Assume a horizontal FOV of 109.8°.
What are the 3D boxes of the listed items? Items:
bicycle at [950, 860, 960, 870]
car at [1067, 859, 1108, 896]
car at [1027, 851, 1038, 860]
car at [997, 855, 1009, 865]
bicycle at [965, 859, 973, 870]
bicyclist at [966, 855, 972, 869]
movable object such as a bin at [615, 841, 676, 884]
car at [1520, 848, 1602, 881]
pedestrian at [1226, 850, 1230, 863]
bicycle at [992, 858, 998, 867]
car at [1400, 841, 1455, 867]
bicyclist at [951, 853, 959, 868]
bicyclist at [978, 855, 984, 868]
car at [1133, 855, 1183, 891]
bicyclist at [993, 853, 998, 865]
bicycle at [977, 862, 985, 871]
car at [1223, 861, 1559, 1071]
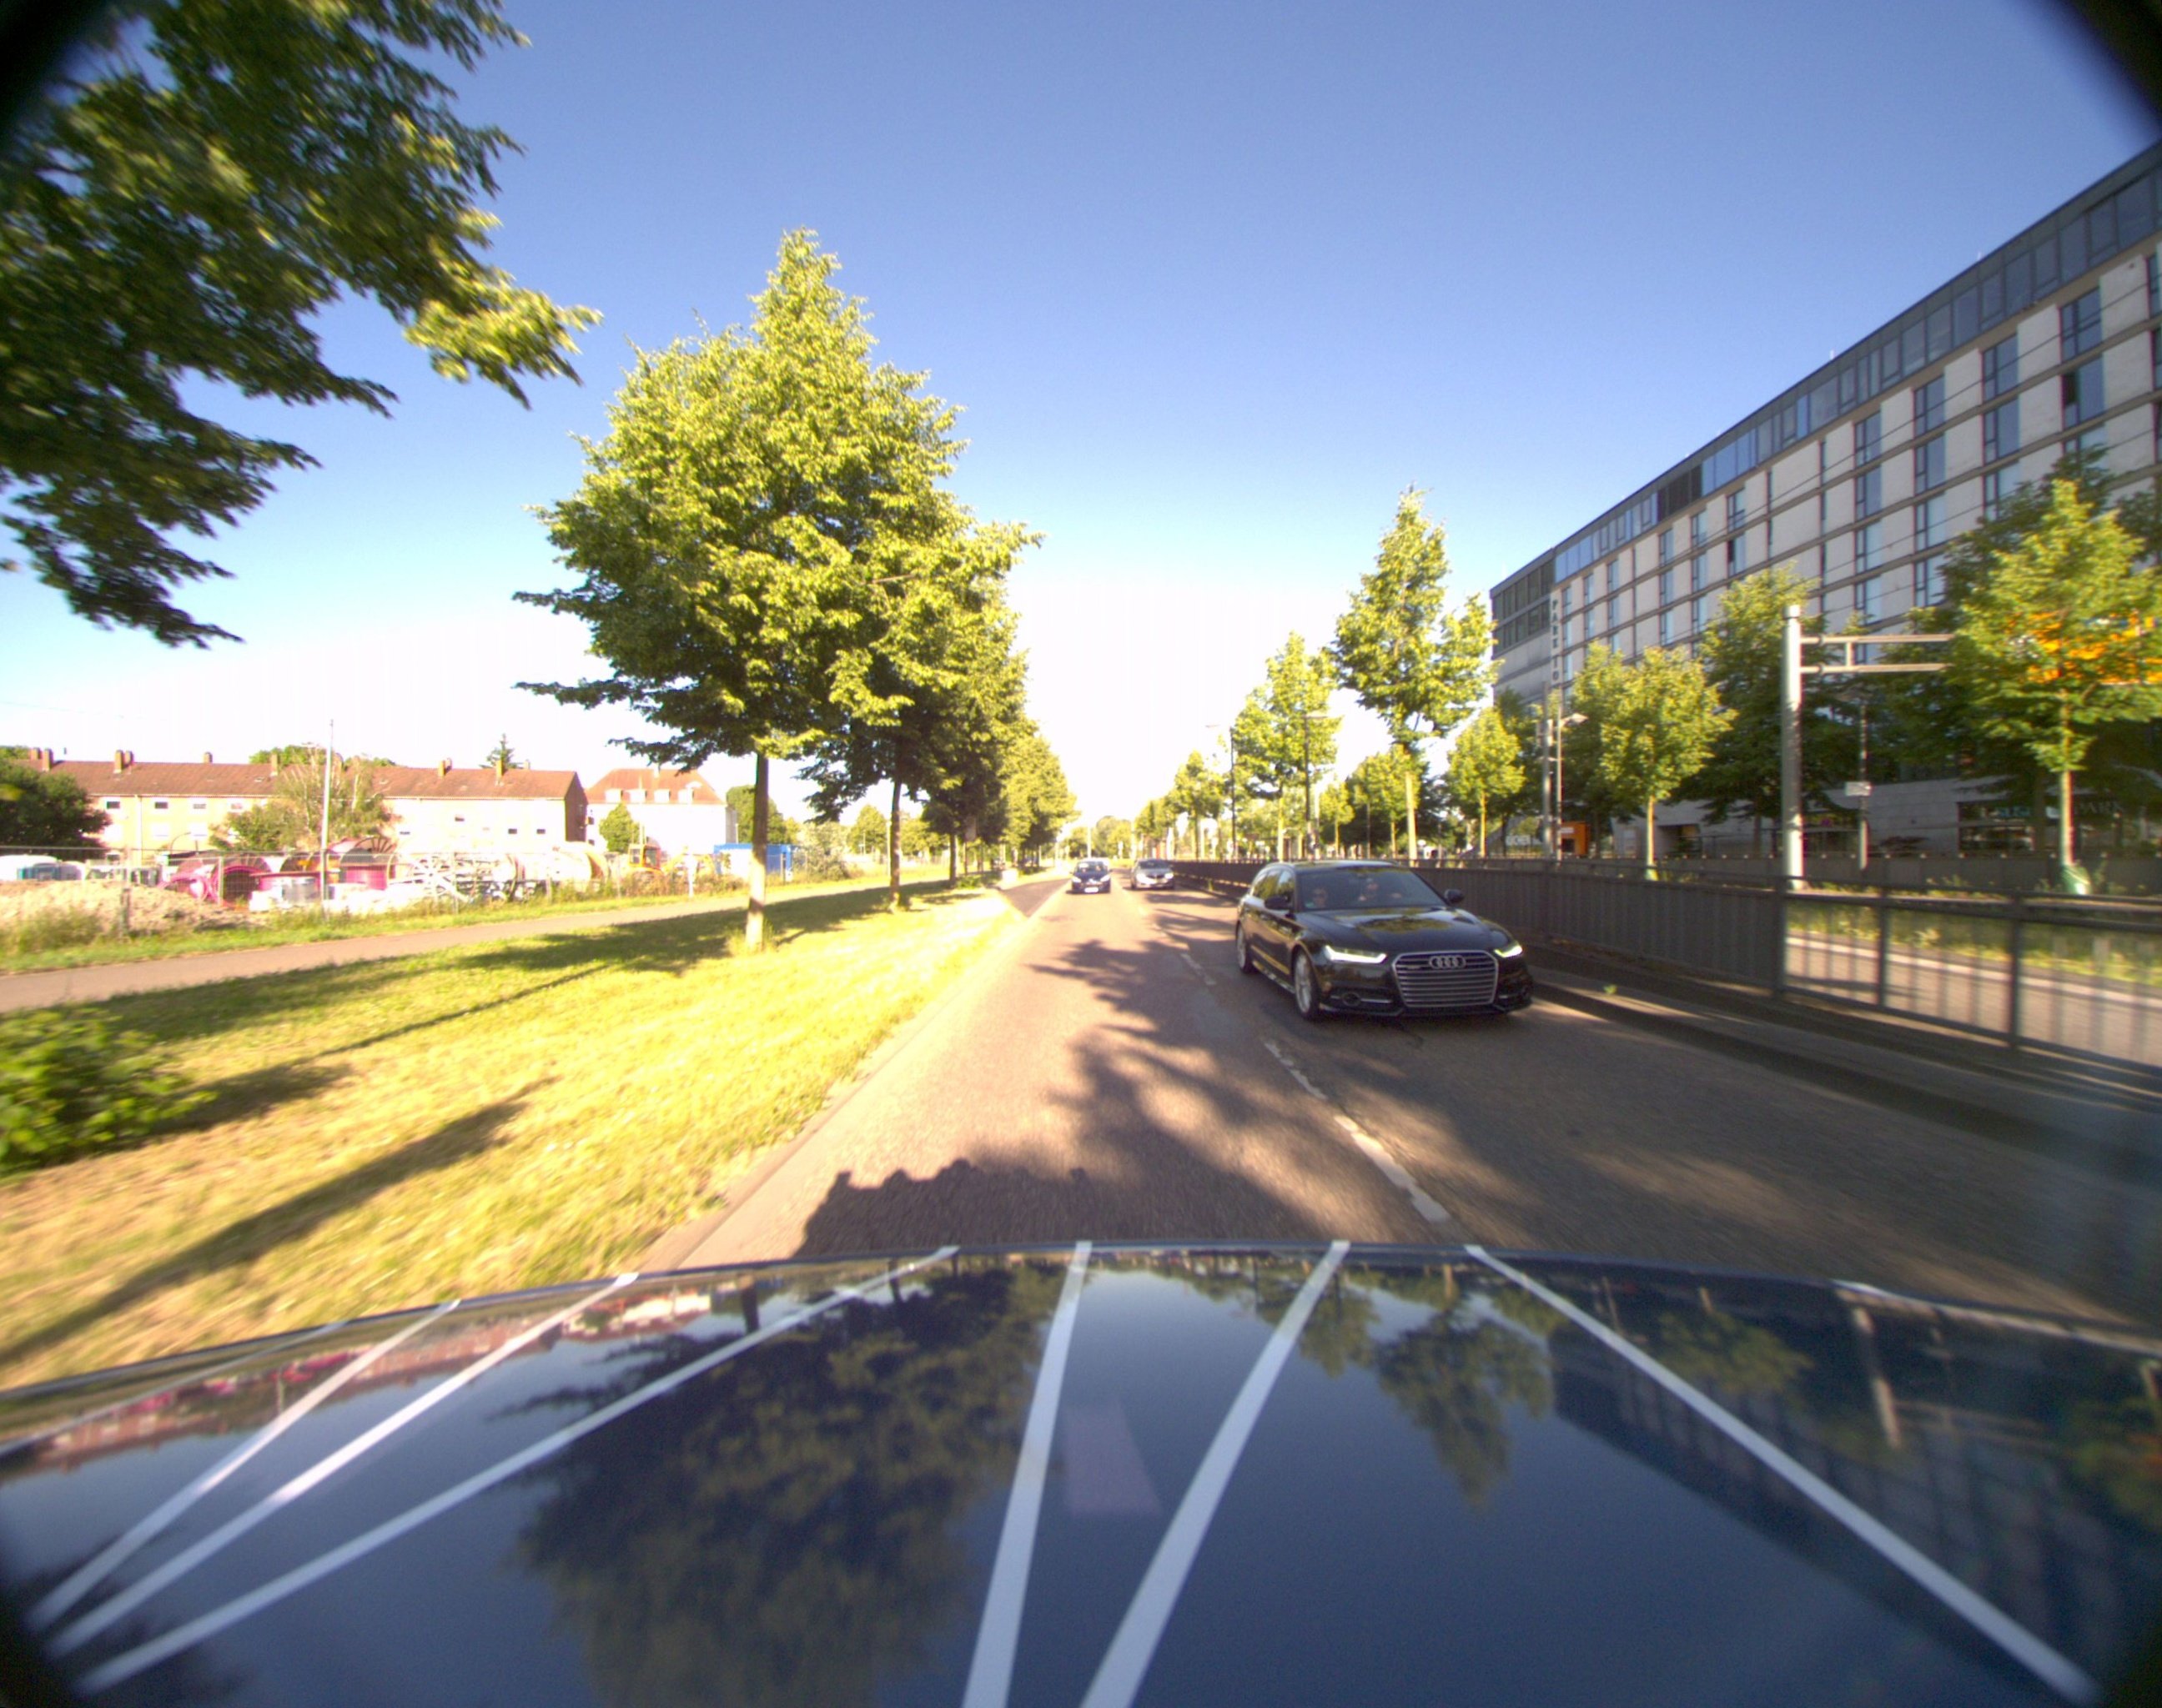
[{"bbox_3d":[-13.266,1.160,80.182,0.657,1.006,1.820,-1,0,1],"label":"bicycle"},{"bbox_3d":[0.328,1.008,34.723,1.763,1.506,3.948,-1,0,1],"label":"car"},{"bbox_3d":[-8.462,0.262,132.504,1.701,1.555,3.676,-1,0,1],"label":"car"},{"bbox_3d":[-14.078,1.074,137.571,1.683,1.630,3.248,-1,0,1],"label":"car"},{"bbox_3d":[-11.785,1.117,79.947,0.507,1.145,1.605,0,0,1],"label":"bicycle"},{"bbox_3d":[-11.793,0.830,79.948,0.504,1.464,0.834,-1,1,1],"label":"bicyclist"},{"bbox_3d":[-21.163,0.382,36.982,1.799,2.002,1.789,-1,2,2],"label":"movable object such as a bin"},{"bbox_3d":[23.415,0.490,37.198,1.683,1.512,3.700,-1,0,1],"label":"car"},{"bbox_3d":[18.701,0.328,96.678,0.418,1.569,0.811,-2,2,-1],"label":"pedestrian"},{"bbox_3d":[-10.409,1.042,92.393,0.479,1.076,1.644,-1,2,2],"label":"bicycle"},{"bbox_3d":[24.058,0.001,52.912,1.998,1.739,4.228,-1,0,1],"label":"car"},{"bbox_3d":[-13.271,0.677,80.192,0.654,1.544,0.794,-1,1,2],"label":"bicyclist"},{"bbox_3d":[-12.129,0.901,92.187,0.592,1.578,0.965,-1,2,3],"label":"bicyclist"},{"bbox_3d":[3.592,0.851,36.225,1.849,1.560,4.527,-1,0,-1],"label":"car"},{"bbox_3d":[-10.426,0.598,92.363,0.471,1.478,0.915,-1,2,2],"label":"bicyclist"},{"bbox_3d":[-12.113,1.500,92.215,0.592,0.955,1.900,-1,2,4],"label":"bicycle"},{"bbox_3d":[2.832,0.897,8.192,1.788,1.518,4.601,-2,0,1],"label":"car"}]
